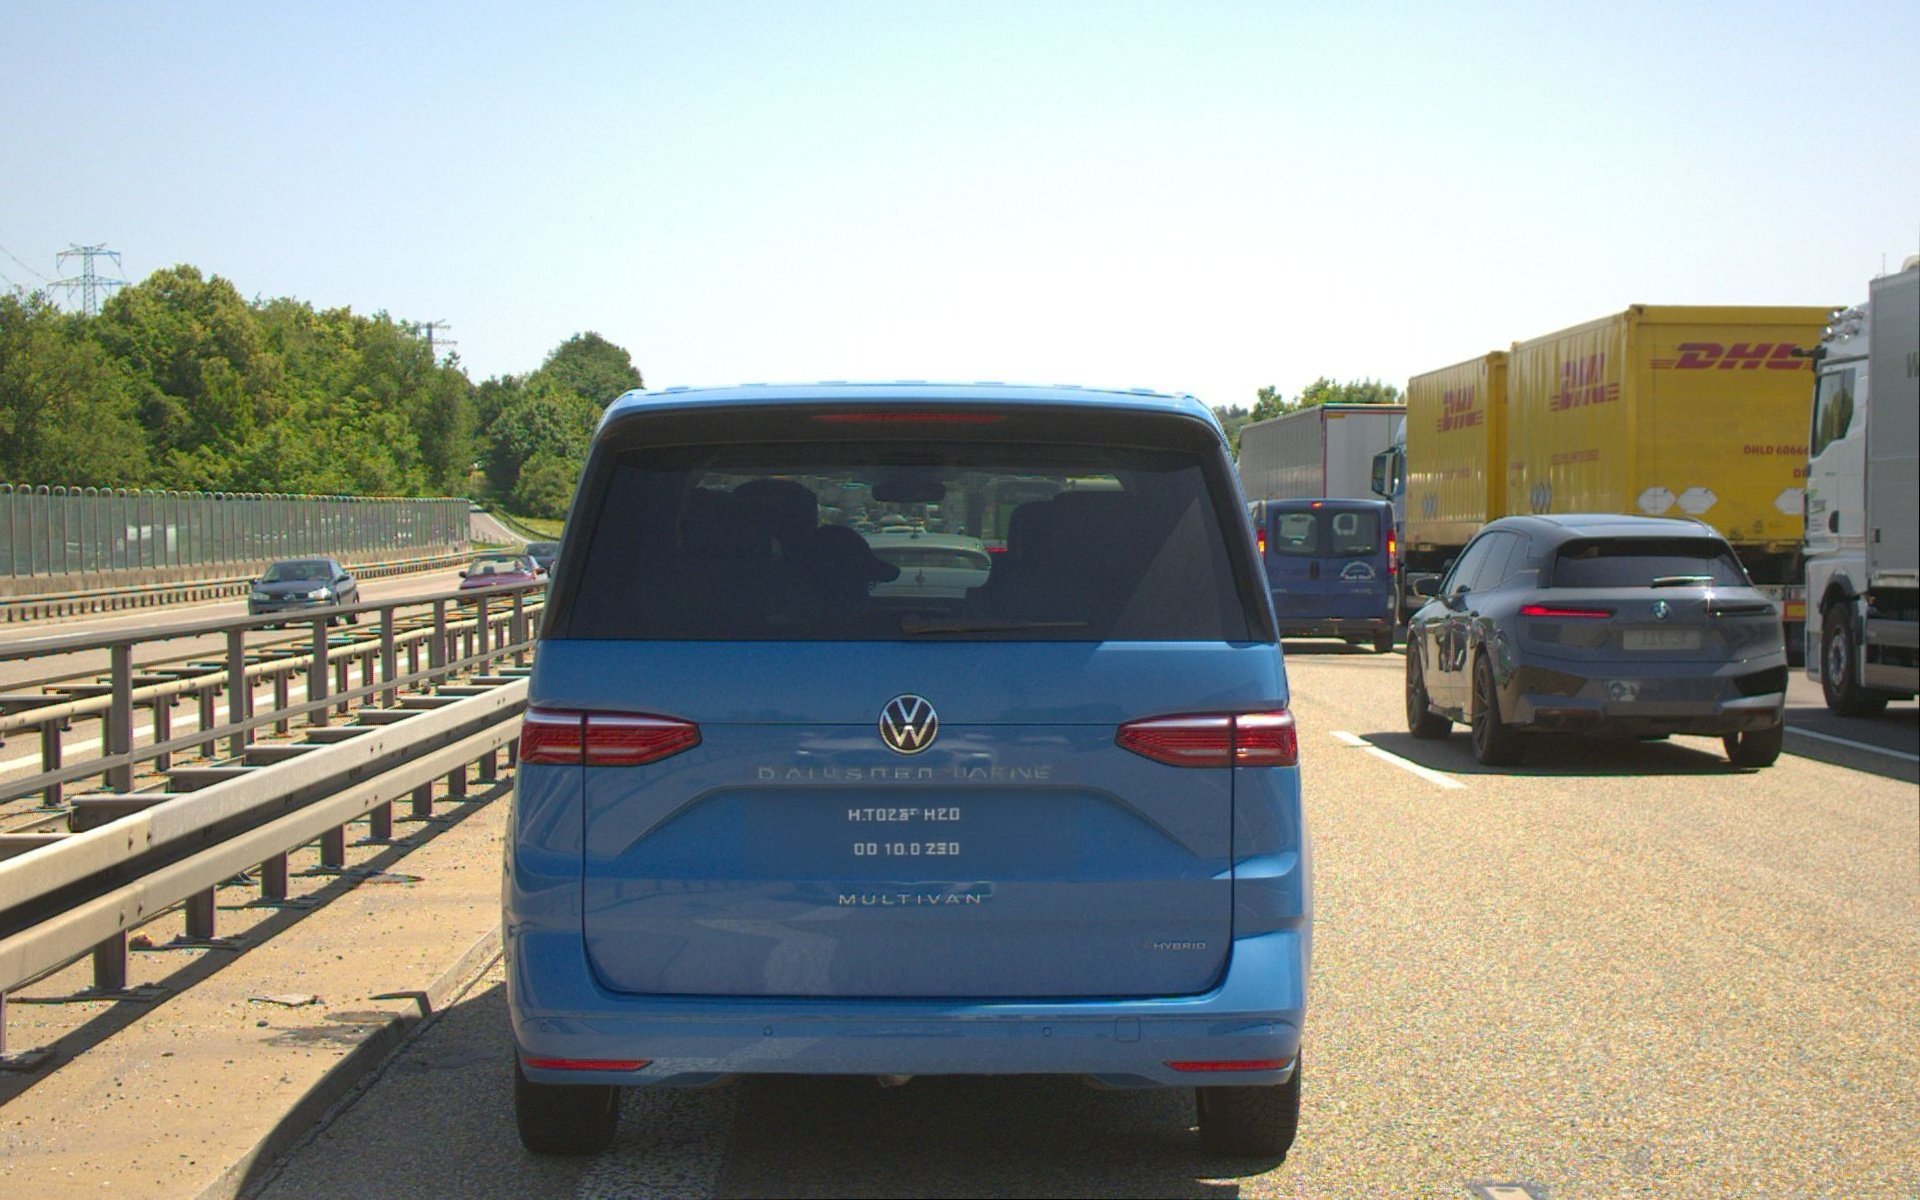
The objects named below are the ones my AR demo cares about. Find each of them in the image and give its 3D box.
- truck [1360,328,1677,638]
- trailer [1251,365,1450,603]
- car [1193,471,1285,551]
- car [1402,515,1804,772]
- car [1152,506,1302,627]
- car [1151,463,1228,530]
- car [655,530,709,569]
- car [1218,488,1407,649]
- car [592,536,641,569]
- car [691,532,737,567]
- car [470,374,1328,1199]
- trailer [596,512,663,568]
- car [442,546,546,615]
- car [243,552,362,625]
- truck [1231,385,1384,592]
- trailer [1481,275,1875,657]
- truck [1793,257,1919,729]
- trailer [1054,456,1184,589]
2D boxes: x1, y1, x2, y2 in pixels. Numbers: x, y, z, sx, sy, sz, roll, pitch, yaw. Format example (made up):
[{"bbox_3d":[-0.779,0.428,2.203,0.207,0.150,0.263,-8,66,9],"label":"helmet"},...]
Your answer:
[{"bbox_3d":[8.330,-1.707,52.817,2.836,4.228,11.011,1,1,-1],"label":"truck"},{"bbox_3d":[7.912,-2.324,71.183,2.637,4.501,11.302,1,1,-1],"label":"trailer"},{"bbox_3d":[7.169,-2.278,88.744,1.993,2.007,4.000,1,1,-1],"label":"car"},{"bbox_3d":[4.385,0.232,24.110,1.962,1.639,4.293,0,1,-1],"label":"car"},{"bbox_3d":[4.128,-0.545,53.741,1.993,1.809,4.000,0,1,-1],"label":"car"},{"bbox_3d":[7.060,-3.173,106.111,1.993,2.007,4.461,-1,1,0],"label":"car"},{"bbox_3d":[-10.932,-1.987,135.567,1.791,1.473,3.989,-1,1,0],"label":"car"},{"bbox_3d":[4.537,-0.435,44.824,1.962,1.986,4.293,0,1,-1],"label":"car"},{"bbox_3d":[-15.807,-2.217,158.558,1.775,1.403,4.683,-2,1,0],"label":"car"},{"bbox_3d":[-11.049,-2.280,154.819,1.668,1.443,4.000,-3,1,1],"label":"car"},{"bbox_3d":[-0.150,0.417,9.423,1.820,1.851,4.075,1,1,-1],"label":"car"},{"bbox_3d":[-15.753,-2.896,164.298,2.493,2.540,6.774,-2,1,0],"label":"trailer"},{"bbox_3d":[-9.690,-0.428,71.737,1.597,1.313,4.342,-2,1,-1],"label":"car"},{"bbox_3d":[-13.296,-0.256,69.706,1.597,1.345,4.180,-3,1,-1],"label":"car"},{"bbox_3d":[7.847,-2.475,78.382,2.667,4.469,6.850,1,1,0],"label":"truck"},{"bbox_3d":[8.677,-1.556,42.787,2.864,4.224,9.012,1,1,-1],"label":"trailer"},{"bbox_3d":[8.756,-0.791,24.745,2.656,3.635,11.012,0,1,-1],"label":"truck"},{"bbox_3d":[3.761,-1.844,83.598,2.569,2.980,10.663,1,1,0],"label":"trailer"}]
